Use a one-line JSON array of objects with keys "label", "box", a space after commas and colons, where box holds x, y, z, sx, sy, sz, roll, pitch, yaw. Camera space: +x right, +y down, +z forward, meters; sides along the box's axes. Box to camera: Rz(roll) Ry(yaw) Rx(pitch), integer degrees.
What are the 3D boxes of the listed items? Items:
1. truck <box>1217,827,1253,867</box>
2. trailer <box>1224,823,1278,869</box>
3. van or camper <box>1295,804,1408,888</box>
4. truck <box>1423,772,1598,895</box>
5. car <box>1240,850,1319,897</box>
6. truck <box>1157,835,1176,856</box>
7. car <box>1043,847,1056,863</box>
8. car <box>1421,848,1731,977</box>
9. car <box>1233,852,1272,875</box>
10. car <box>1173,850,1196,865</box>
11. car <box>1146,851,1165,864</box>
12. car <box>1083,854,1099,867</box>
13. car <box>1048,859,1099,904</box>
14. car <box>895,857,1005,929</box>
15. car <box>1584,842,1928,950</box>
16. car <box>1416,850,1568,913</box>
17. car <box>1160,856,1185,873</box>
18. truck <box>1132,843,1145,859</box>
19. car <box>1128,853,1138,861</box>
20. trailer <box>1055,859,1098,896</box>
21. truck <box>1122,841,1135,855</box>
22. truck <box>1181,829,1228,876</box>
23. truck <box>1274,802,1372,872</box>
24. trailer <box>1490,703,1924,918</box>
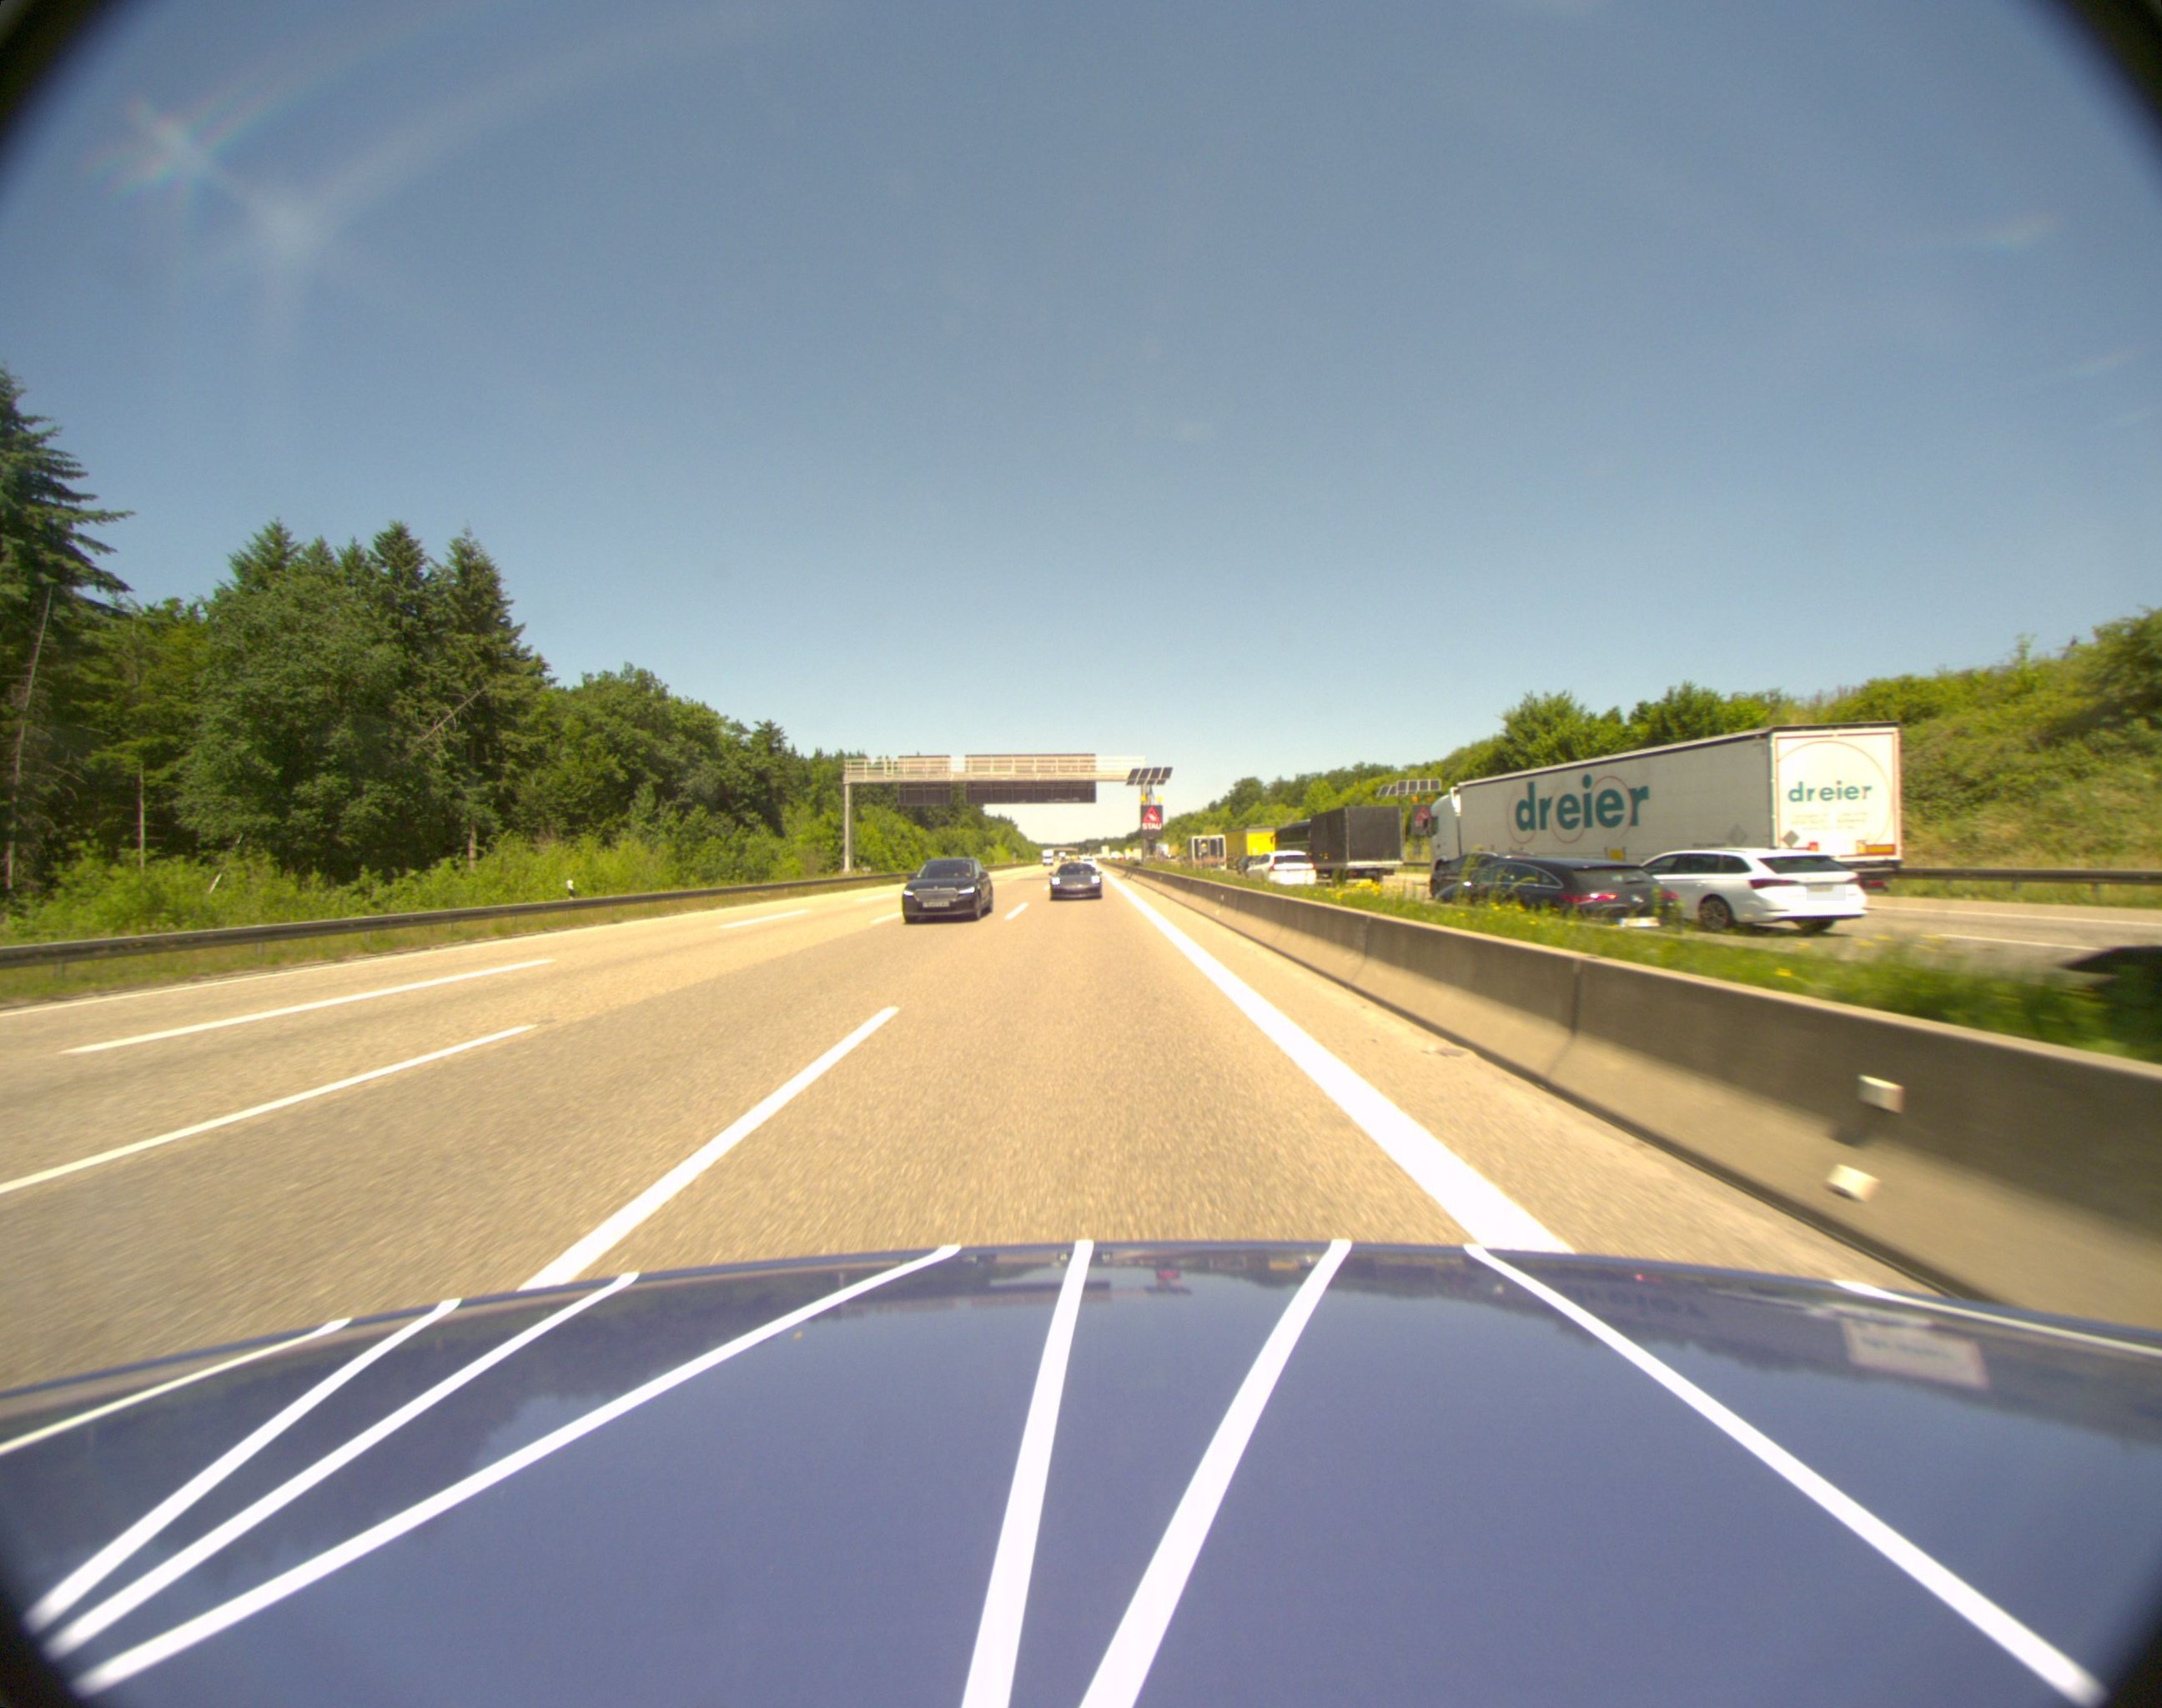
[{"label": "truck", "box": [16.587, -0.784, 82.280, 2.608, 4.041, 6.132, -2, 1, 1]}, {"label": "trailer", "box": [16.491, -0.765, 74.493, 2.657, 4.120, 11.855, -2, 0, 1]}, {"label": "van or camper", "box": [12.126, -0.343, 34.948, 2.535, 3.340, 7.943, -2, 1, 2]}, {"label": "truck", "box": [16.031, -0.701, 29.052, 2.788, 4.090, 7.029, -1, 1, 1]}, {"label": "car", "box": [7.700, 0.690, 29.904, 1.816, 1.624, 5.029, -2, 0, 1]}, {"label": "truck", "box": [16.618, -1.704, 148.522, 2.632, 3.875, 8.954, -2, 1, 1]}, {"label": "car", "box": [-6.684, 0.173, 162.056, 2.303, 3.317, 7.621, -2, 1, -1]}, {"label": "car", "box": [7.560, 0.745, 12.392, 1.816, 1.624, 5.029, -2, 0, 1]}, {"label": "car", "box": [12.382, 0.656, 55.186, 1.780, 1.540, 4.760, -1, 1, 1]}, {"label": "car", "box": [12.357, 0.373, 91.008, 1.867, 1.742, 5.901, -2, 0, 1]}, {"label": "car", "box": [9.198, 0.431, 94.277, 1.816, 1.504, 5.029, -2, 0, 1]}, {"label": "car", "box": [1.156, 0.801, 90.151, 1.719, 1.432, 4.456, -1, 1, -1]}, {"label": "car", "box": [-0.196, 0.943, 28.291, 1.718, 1.432, 4.457, -2, 0, 1]}, {"label": "car", "box": [-3.367, 0.958, 20.479, 1.989, 1.609, 4.458, -3, -1, 1]}, {"label": "car", "box": [11.650, 0.597, 13.746, 1.816, 1.534, 4.998, -2, 0, 1]}, {"label": "car", "box": [11.627, 0.695, 21.956, 1.816, 1.528, 4.829, -2, 0, 1]}, {"label": "car", "box": [8.866, 1.023, 74.066, 1.816, 1.504, 5.029, -2, 0, 1]}, {"label": "truck", "box": [17.220, -0.968, 228.626, 3.002, 4.516, 13.924, -2, 0, 1]}, {"label": "car", "box": [12.431, 0.707, 181.717, 1.832, 1.754, 4.990, -2, 0, -1]}, {"label": "trailer", "box": [-0.148, 0.930, 31.568, 1.689, 1.399, 3.046, -2, 0, 1]}, {"label": "truck", "box": [16.514, -2.177, 264.915, 3.706, 4.430, 16.674, -2, 0, 1]}, {"label": "truck", "box": [8.198, -0.115, 50.835, 2.125, 2.825, 6.212, -2, 1, 1]}, {"label": "truck", "box": [16.334, -1.079, 52.423, 3.064, 4.197, 11.486, -2, 0, 1]}, {"label": "trailer", "box": [15.807, -0.916, 21.214, 2.788, 4.280, 11.710, -1, 1, 2]}]
